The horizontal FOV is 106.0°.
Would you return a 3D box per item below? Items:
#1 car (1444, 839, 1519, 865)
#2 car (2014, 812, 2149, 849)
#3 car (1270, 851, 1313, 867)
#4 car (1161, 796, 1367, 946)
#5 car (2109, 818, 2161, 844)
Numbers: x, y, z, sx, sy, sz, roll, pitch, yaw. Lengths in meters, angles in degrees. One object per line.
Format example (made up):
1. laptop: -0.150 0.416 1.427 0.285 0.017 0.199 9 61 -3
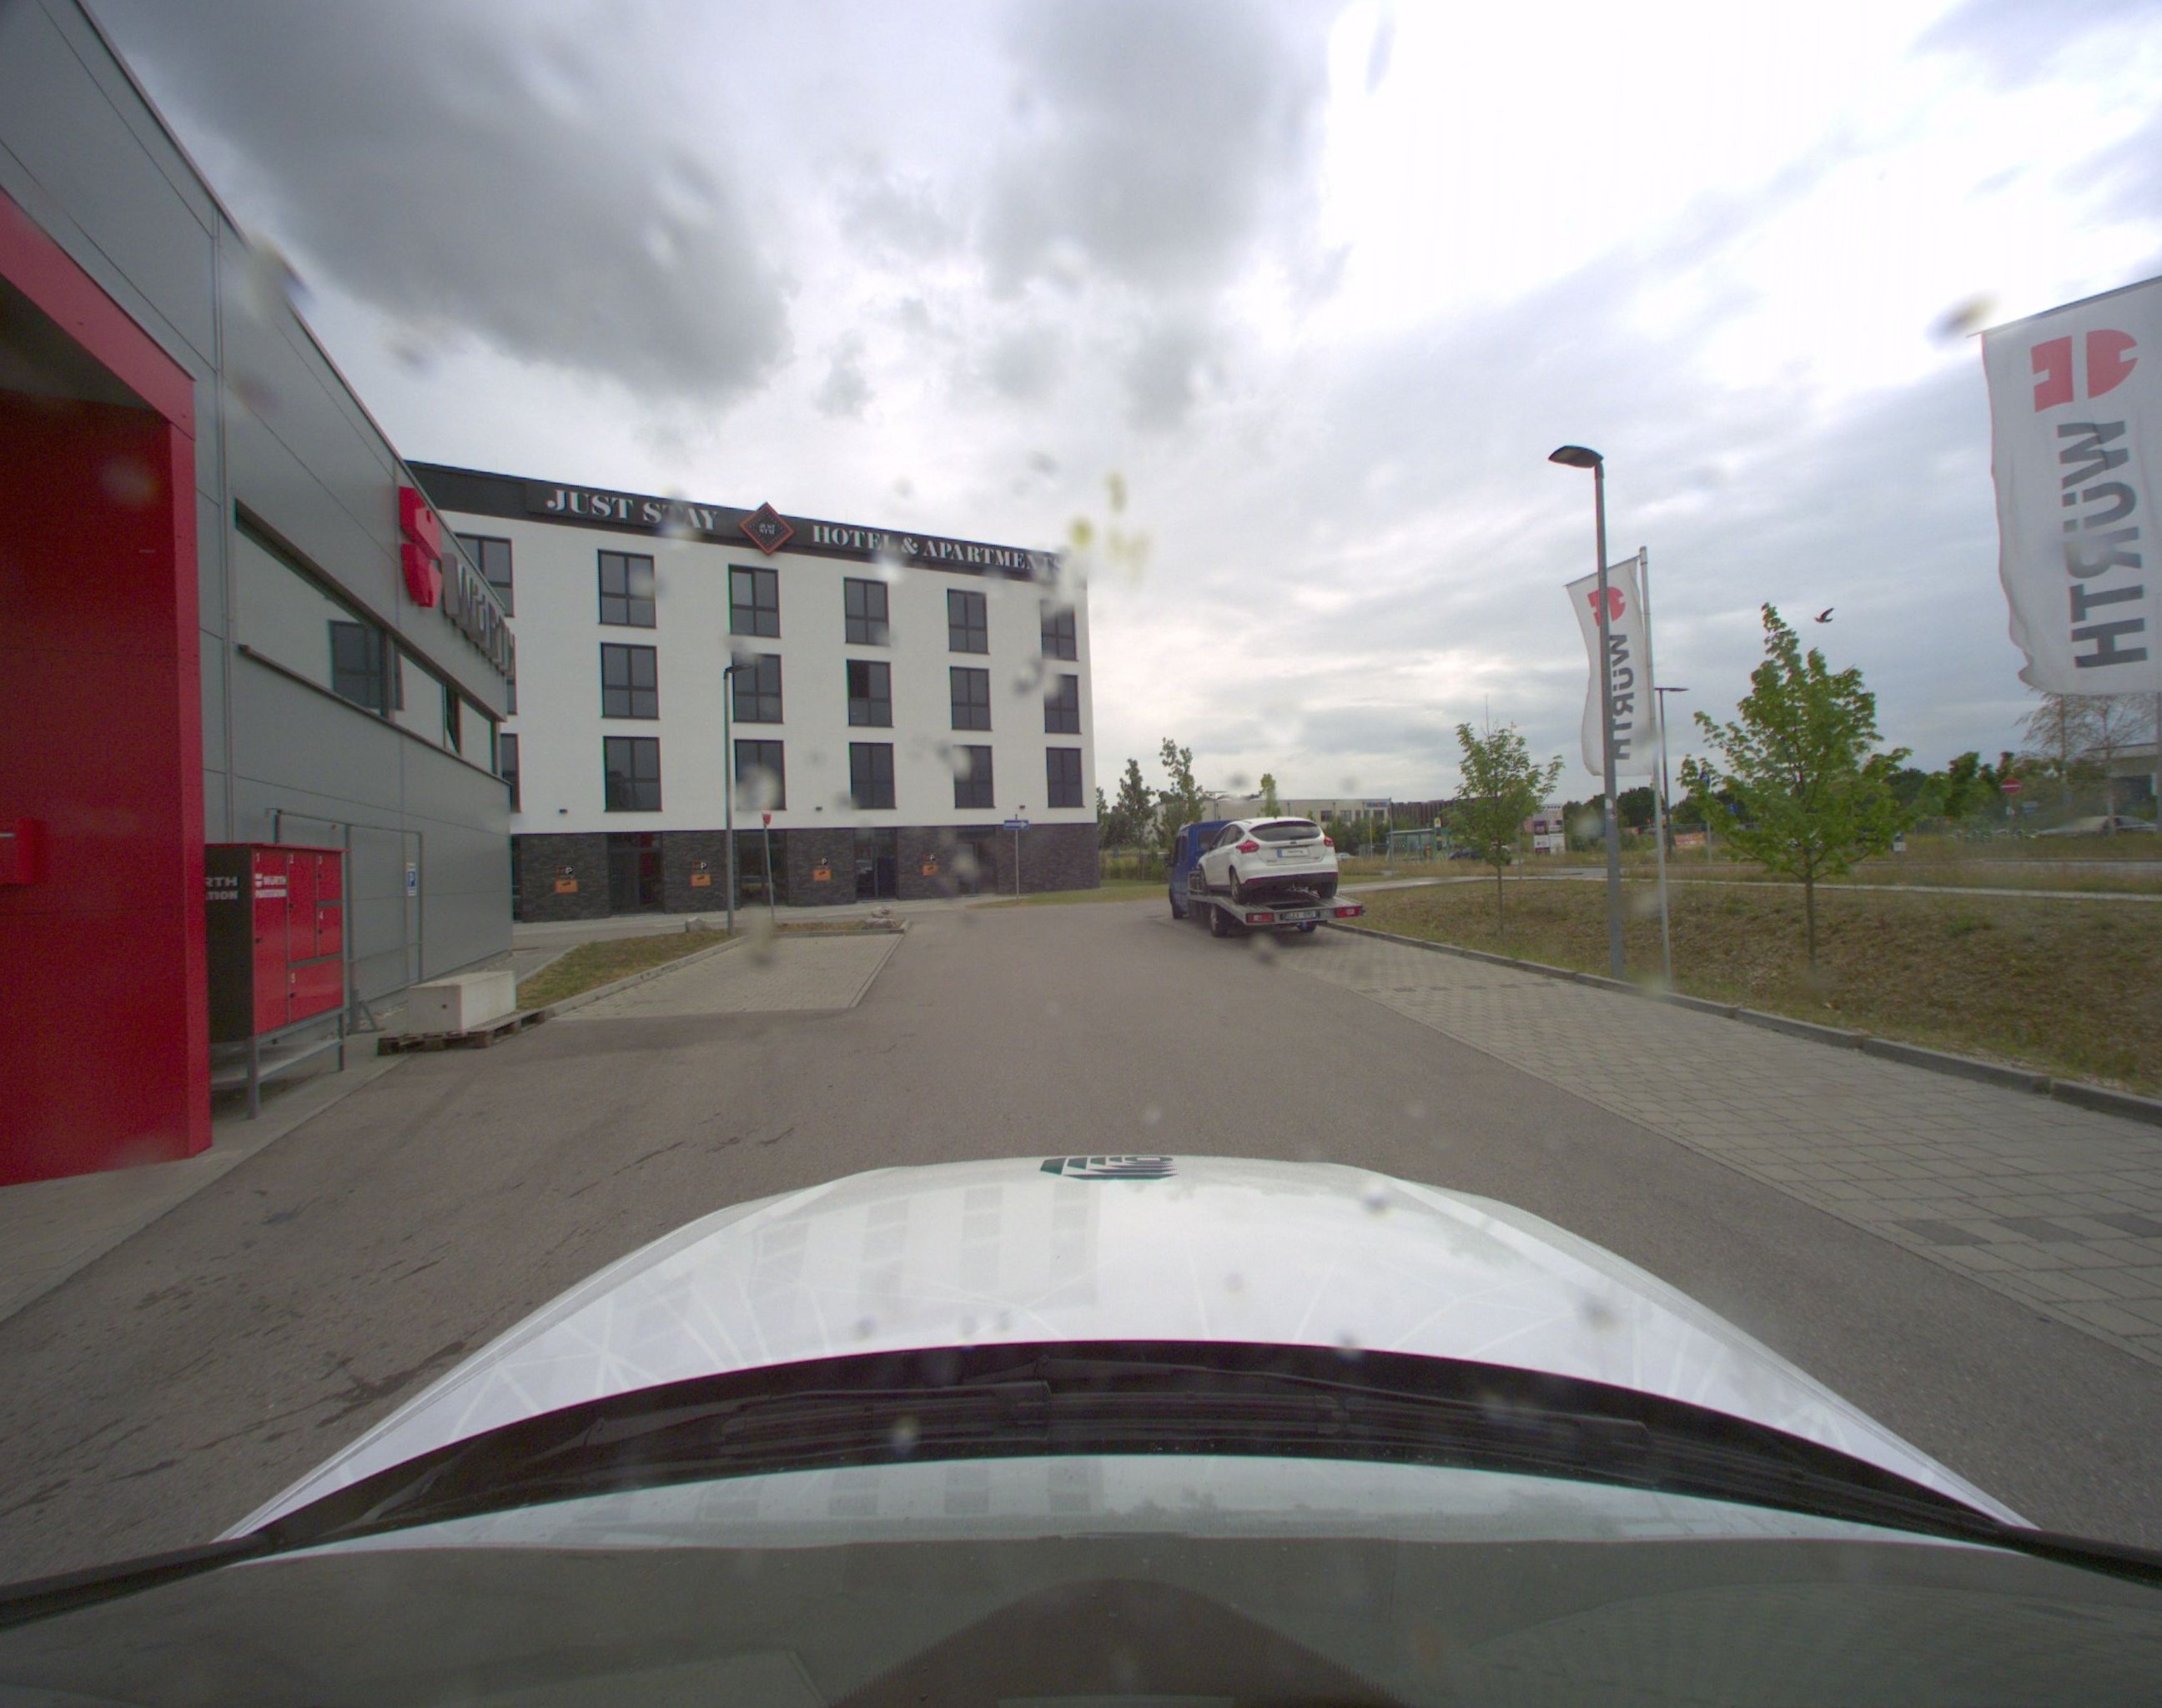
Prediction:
1. car: 23.062 -0.100 47.075 1.717 1.324 3.981 -2 0 -14
2. car: 44.145 -1.016 35.956 4.596 1.445 1.779 -2 -1 -11
3. car: 17.223 0.410 66.812 1.717 1.224 3.981 -2 0 -13
4. car: 3.326 0.313 17.025 2.189 2.322 7.849 -2 -1 -2
5. car: 59.555 -1.302 44.359 1.998 1.352 3.978 -2 0 -16
